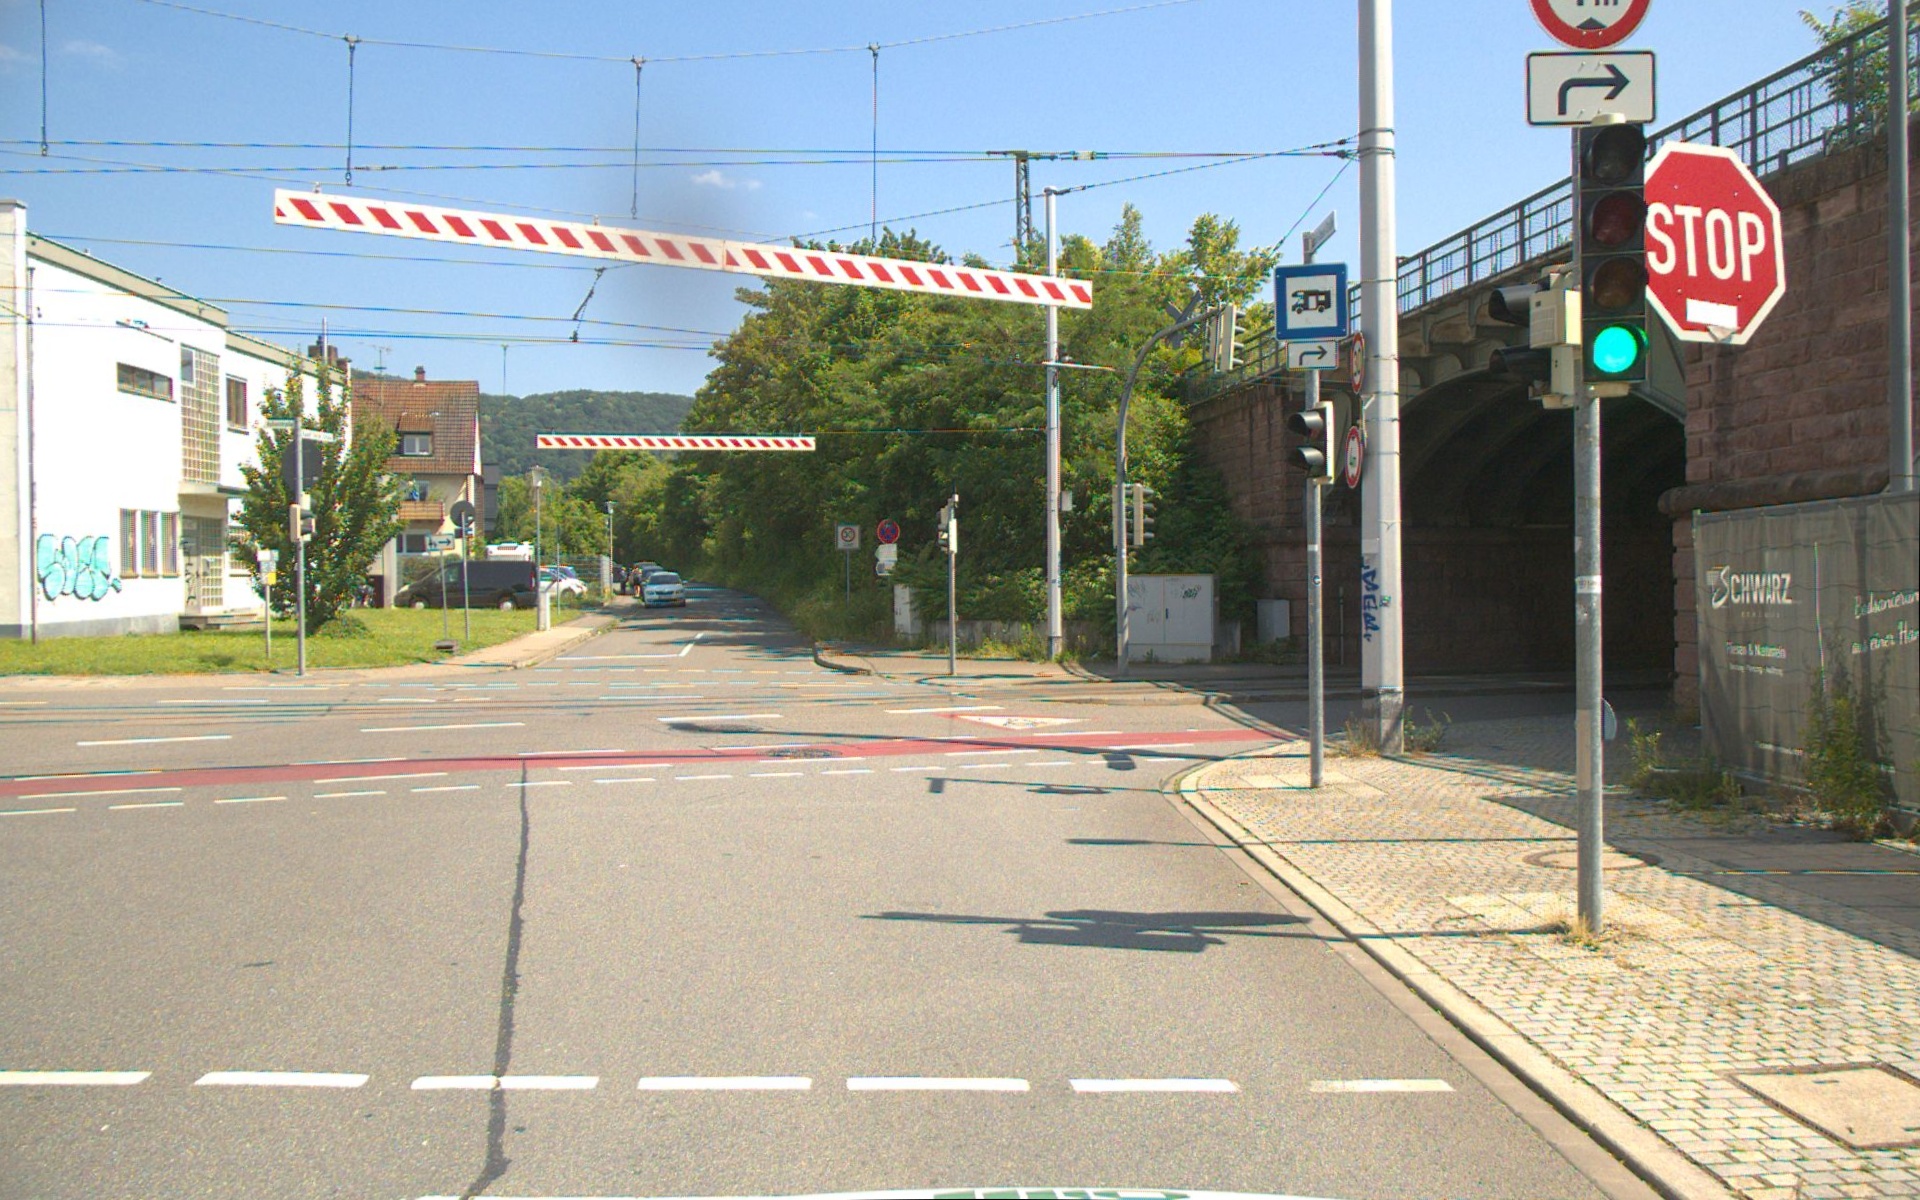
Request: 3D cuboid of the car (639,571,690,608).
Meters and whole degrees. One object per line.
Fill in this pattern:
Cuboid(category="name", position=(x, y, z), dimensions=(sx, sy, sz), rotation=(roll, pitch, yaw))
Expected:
Cuboid(category="car", position=(-12.818, -0.460, 71.980), dimensions=(2.048, 1.536, 4.530), rotation=(1, 0, -9))

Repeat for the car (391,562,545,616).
Cuboid(category="car", position=(-17.883, -0.412, 60.375), dimensions=(5.153, 1.848, 1.995), rotation=(-1, 1, -10))

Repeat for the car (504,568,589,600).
Cuboid(category="car", position=(-19.218, -0.744, 76.997), dimensions=(3.650, 1.395, 1.602), rotation=(1, 0, -8))

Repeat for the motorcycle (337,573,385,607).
Cuboid(category="motorcycle", position=(-19.614, -0.307, 54.174), dimensions=(0.835, 1.050, 2.564), rotation=(1, -1, -6))

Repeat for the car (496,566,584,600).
Cuboid(category="car", position=(-18.928, -0.752, 74.582), dimensions=(3.650, 1.395, 1.601), rotation=(1, -1, -8))

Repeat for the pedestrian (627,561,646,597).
Cuboid(category="pedestrian", position=(-16.450, -1.087, 84.138), dimensions=(0.860, 1.793, 0.729), rotation=(1, -1, -10))

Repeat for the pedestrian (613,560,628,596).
Cuboid(category="pedestrian", position=(-17.319, -1.127, 84.380), dimensions=(0.642, 1.793, 0.802), rotation=(1, -1, -10))
